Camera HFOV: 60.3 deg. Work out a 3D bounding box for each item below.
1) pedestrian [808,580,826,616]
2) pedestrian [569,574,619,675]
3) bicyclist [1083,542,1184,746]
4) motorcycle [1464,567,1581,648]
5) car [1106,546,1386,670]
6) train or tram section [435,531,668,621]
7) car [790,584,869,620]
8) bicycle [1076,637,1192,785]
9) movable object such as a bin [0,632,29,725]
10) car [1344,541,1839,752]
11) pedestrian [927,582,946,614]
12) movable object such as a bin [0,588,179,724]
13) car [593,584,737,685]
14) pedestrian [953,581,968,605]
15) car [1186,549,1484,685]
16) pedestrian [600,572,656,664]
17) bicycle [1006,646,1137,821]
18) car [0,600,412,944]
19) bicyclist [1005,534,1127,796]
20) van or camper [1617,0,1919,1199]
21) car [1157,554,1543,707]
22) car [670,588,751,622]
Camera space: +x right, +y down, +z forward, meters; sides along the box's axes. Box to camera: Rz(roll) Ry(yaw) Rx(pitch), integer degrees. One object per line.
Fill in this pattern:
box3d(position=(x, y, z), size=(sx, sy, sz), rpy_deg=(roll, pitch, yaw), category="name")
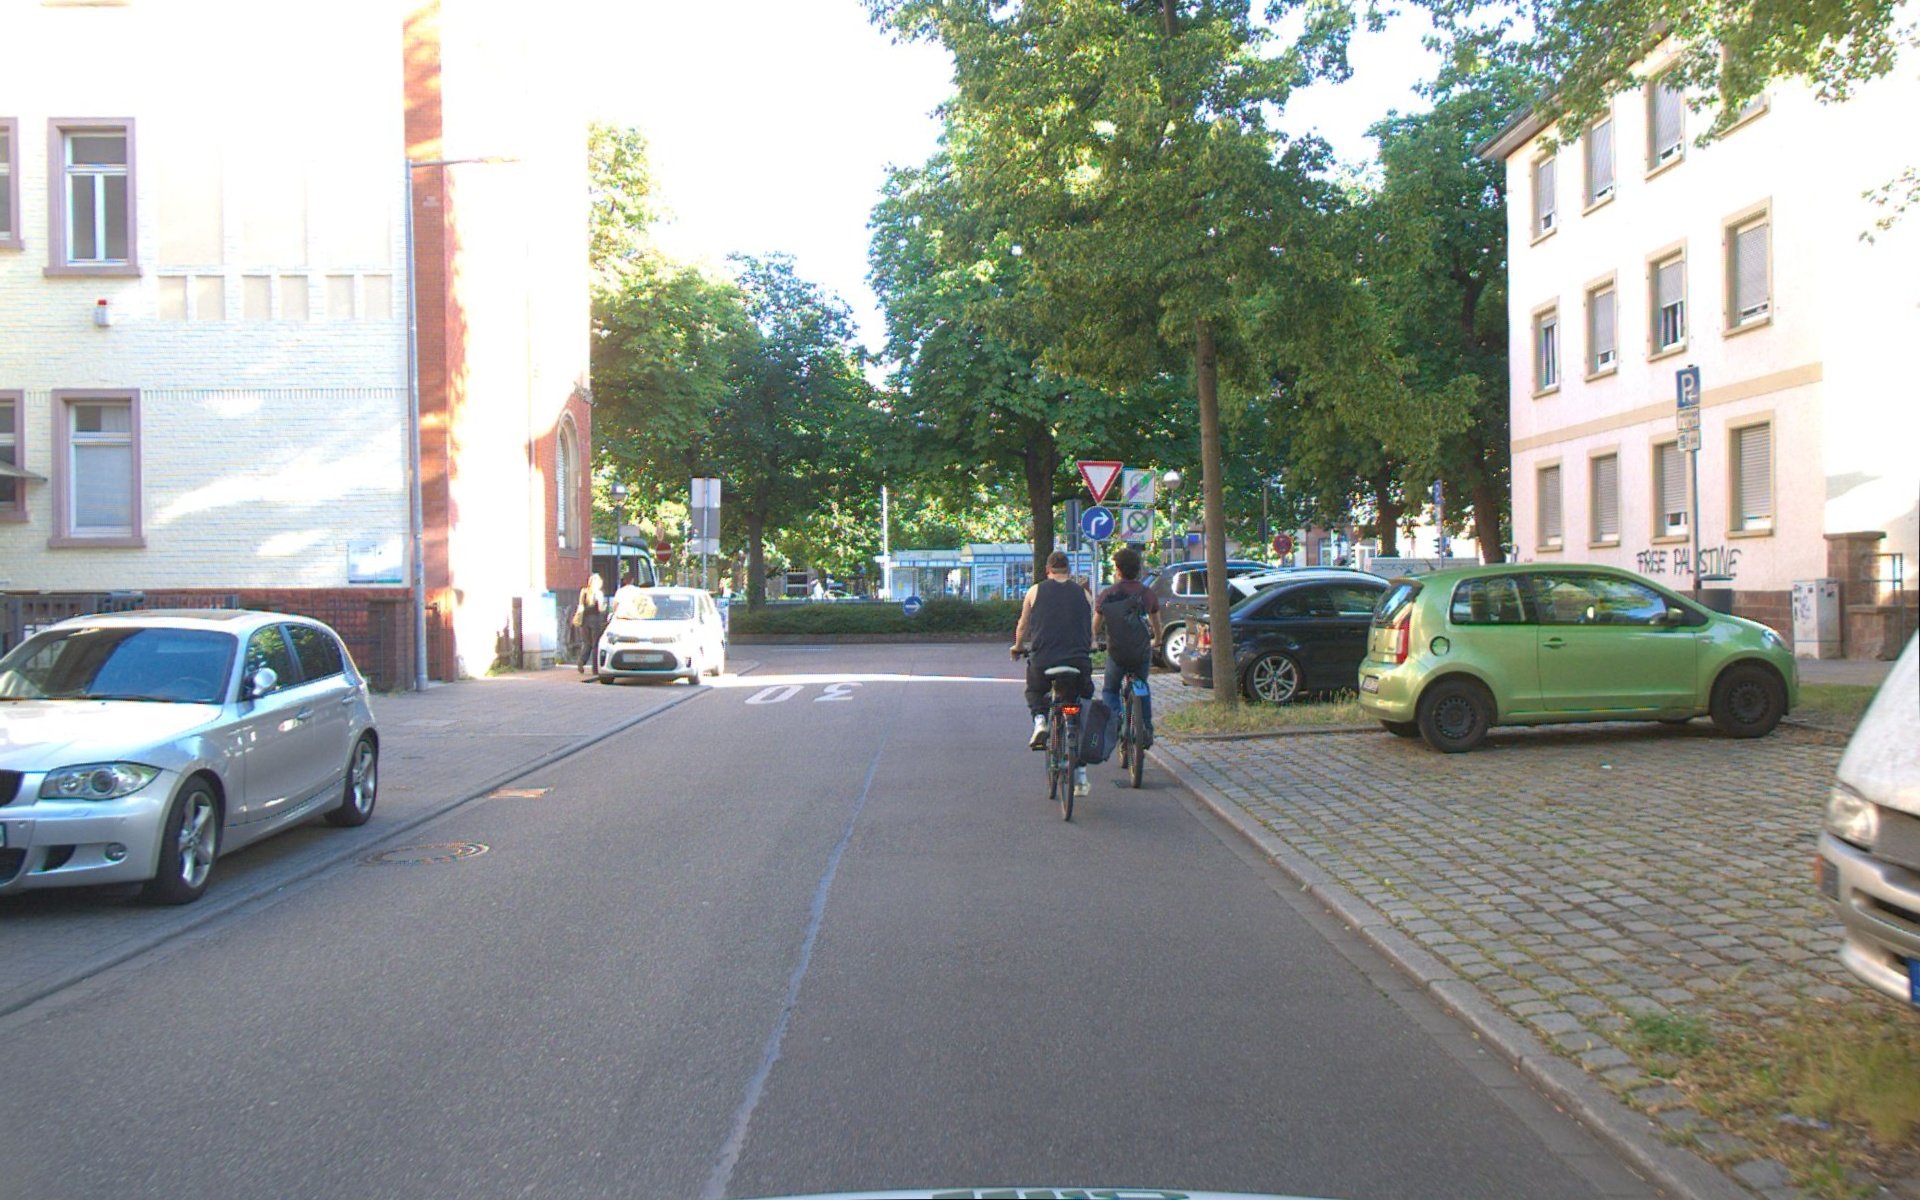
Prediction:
box3d(position=(-6.969, -0.107, 80.802), size=(0.692, 1.724, 0.666), rpy_deg=(1, 0, -23), category="pedestrian")
box3d(position=(-6.055, 0.391, 27.379), size=(0.587, 1.633, 0.855), rpy_deg=(-1, 0, 1), category="pedestrian")
box3d(position=(1.366, 0.336, 13.157), size=(0.658, 1.541, 1.069), rpy_deg=(-1, -1, 0), category="bicyclist")
box3d(position=(9.484, 0.112, 28.004), size=(0.957, 1.302, 2.178), rpy_deg=(-2, 1, -9), category="motorcycle")
box3d(position=(4.537, 0.094, 26.643), size=(4.026, 1.742, 2.022), rpy_deg=(-2, 1, -5), category="car")
box3d(position=(-15.644, -0.880, 63.457), size=(8.304, 3.233, 2.841), rpy_deg=(1, 0, -24), category="train or tram section")
box3d(position=(-7.288, 0.122, 92.524), size=(3.939, 1.903, 1.983), rpy_deg=(-1, 1, -26), category="car")
box3d(position=(1.367, 0.847, 13.316), size=(0.660, 1.072, 2.060), rpy_deg=(-1, -1, -1), category="bicycle")
box3d(position=(-9.653, 0.777, 16.334), size=(0.470, 0.894, 0.673), rpy_deg=(0, 0, 9), category="movable object such as a bin")
box3d(position=(5.225, 0.353, 14.002), size=(3.516, 1.531, 1.678), rpy_deg=(-2, 1, 0), category="car")
box3d(position=(-1.195, -0.097, 83.443), size=(0.795, 1.570, 0.818), rpy_deg=(1, 0, -12), category="pedestrian")
box3d(position=(-8.835, 0.549, 16.757), size=(1.346, 1.321, 0.969), rpy_deg=(0, 0, 9), category="movable object such as a bin")
box3d(position=(-4.735, 0.507, 26.990), size=(1.670, 1.511, 3.797), rpy_deg=(1, 0, -1), category="car")
box3d(position=(0.043, -0.491, 118.651), size=(0.980, 1.659, 1.064), rpy_deg=(-1, 0, -2), category="pedestrian")
box3d(position=(4.910, 0.213, 22.043), size=(3.616, 1.680, 1.705), rpy_deg=(-1, 0, 3), category="car")
box3d(position=(-6.109, 0.322, 30.468), size=(0.849, 1.672, 0.860), rpy_deg=(-1, 0, -1), category="pedestrian")
box3d(position=(0.725, 0.864, 11.362), size=(0.722, 1.030, 2.061), rpy_deg=(1, 0, -1), category="bicycle")
box3d(position=(-4.564, 0.766, 9.368), size=(1.709, 1.492, 4.101), rpy_deg=(0, 0, -3), category="car")
box3d(position=(0.711, 0.424, 11.338), size=(0.737, 1.711, 0.913), rpy_deg=(-1, 0, -1), category="bicyclist")
box3d(position=(5.542, -0.276, 3.999), size=(6.936, 3.131, 2.463), rpy_deg=(-1, 0, -4), category="van or camper")
box3d(position=(4.454, 0.331, 19.316), size=(4.022, 1.436, 1.792), rpy_deg=(-4, 0, -1), category="car")
box3d(position=(-13.300, 0.258, 88.289), size=(3.920, 1.708, 1.922), rpy_deg=(-2, 1, -45), category="car")
